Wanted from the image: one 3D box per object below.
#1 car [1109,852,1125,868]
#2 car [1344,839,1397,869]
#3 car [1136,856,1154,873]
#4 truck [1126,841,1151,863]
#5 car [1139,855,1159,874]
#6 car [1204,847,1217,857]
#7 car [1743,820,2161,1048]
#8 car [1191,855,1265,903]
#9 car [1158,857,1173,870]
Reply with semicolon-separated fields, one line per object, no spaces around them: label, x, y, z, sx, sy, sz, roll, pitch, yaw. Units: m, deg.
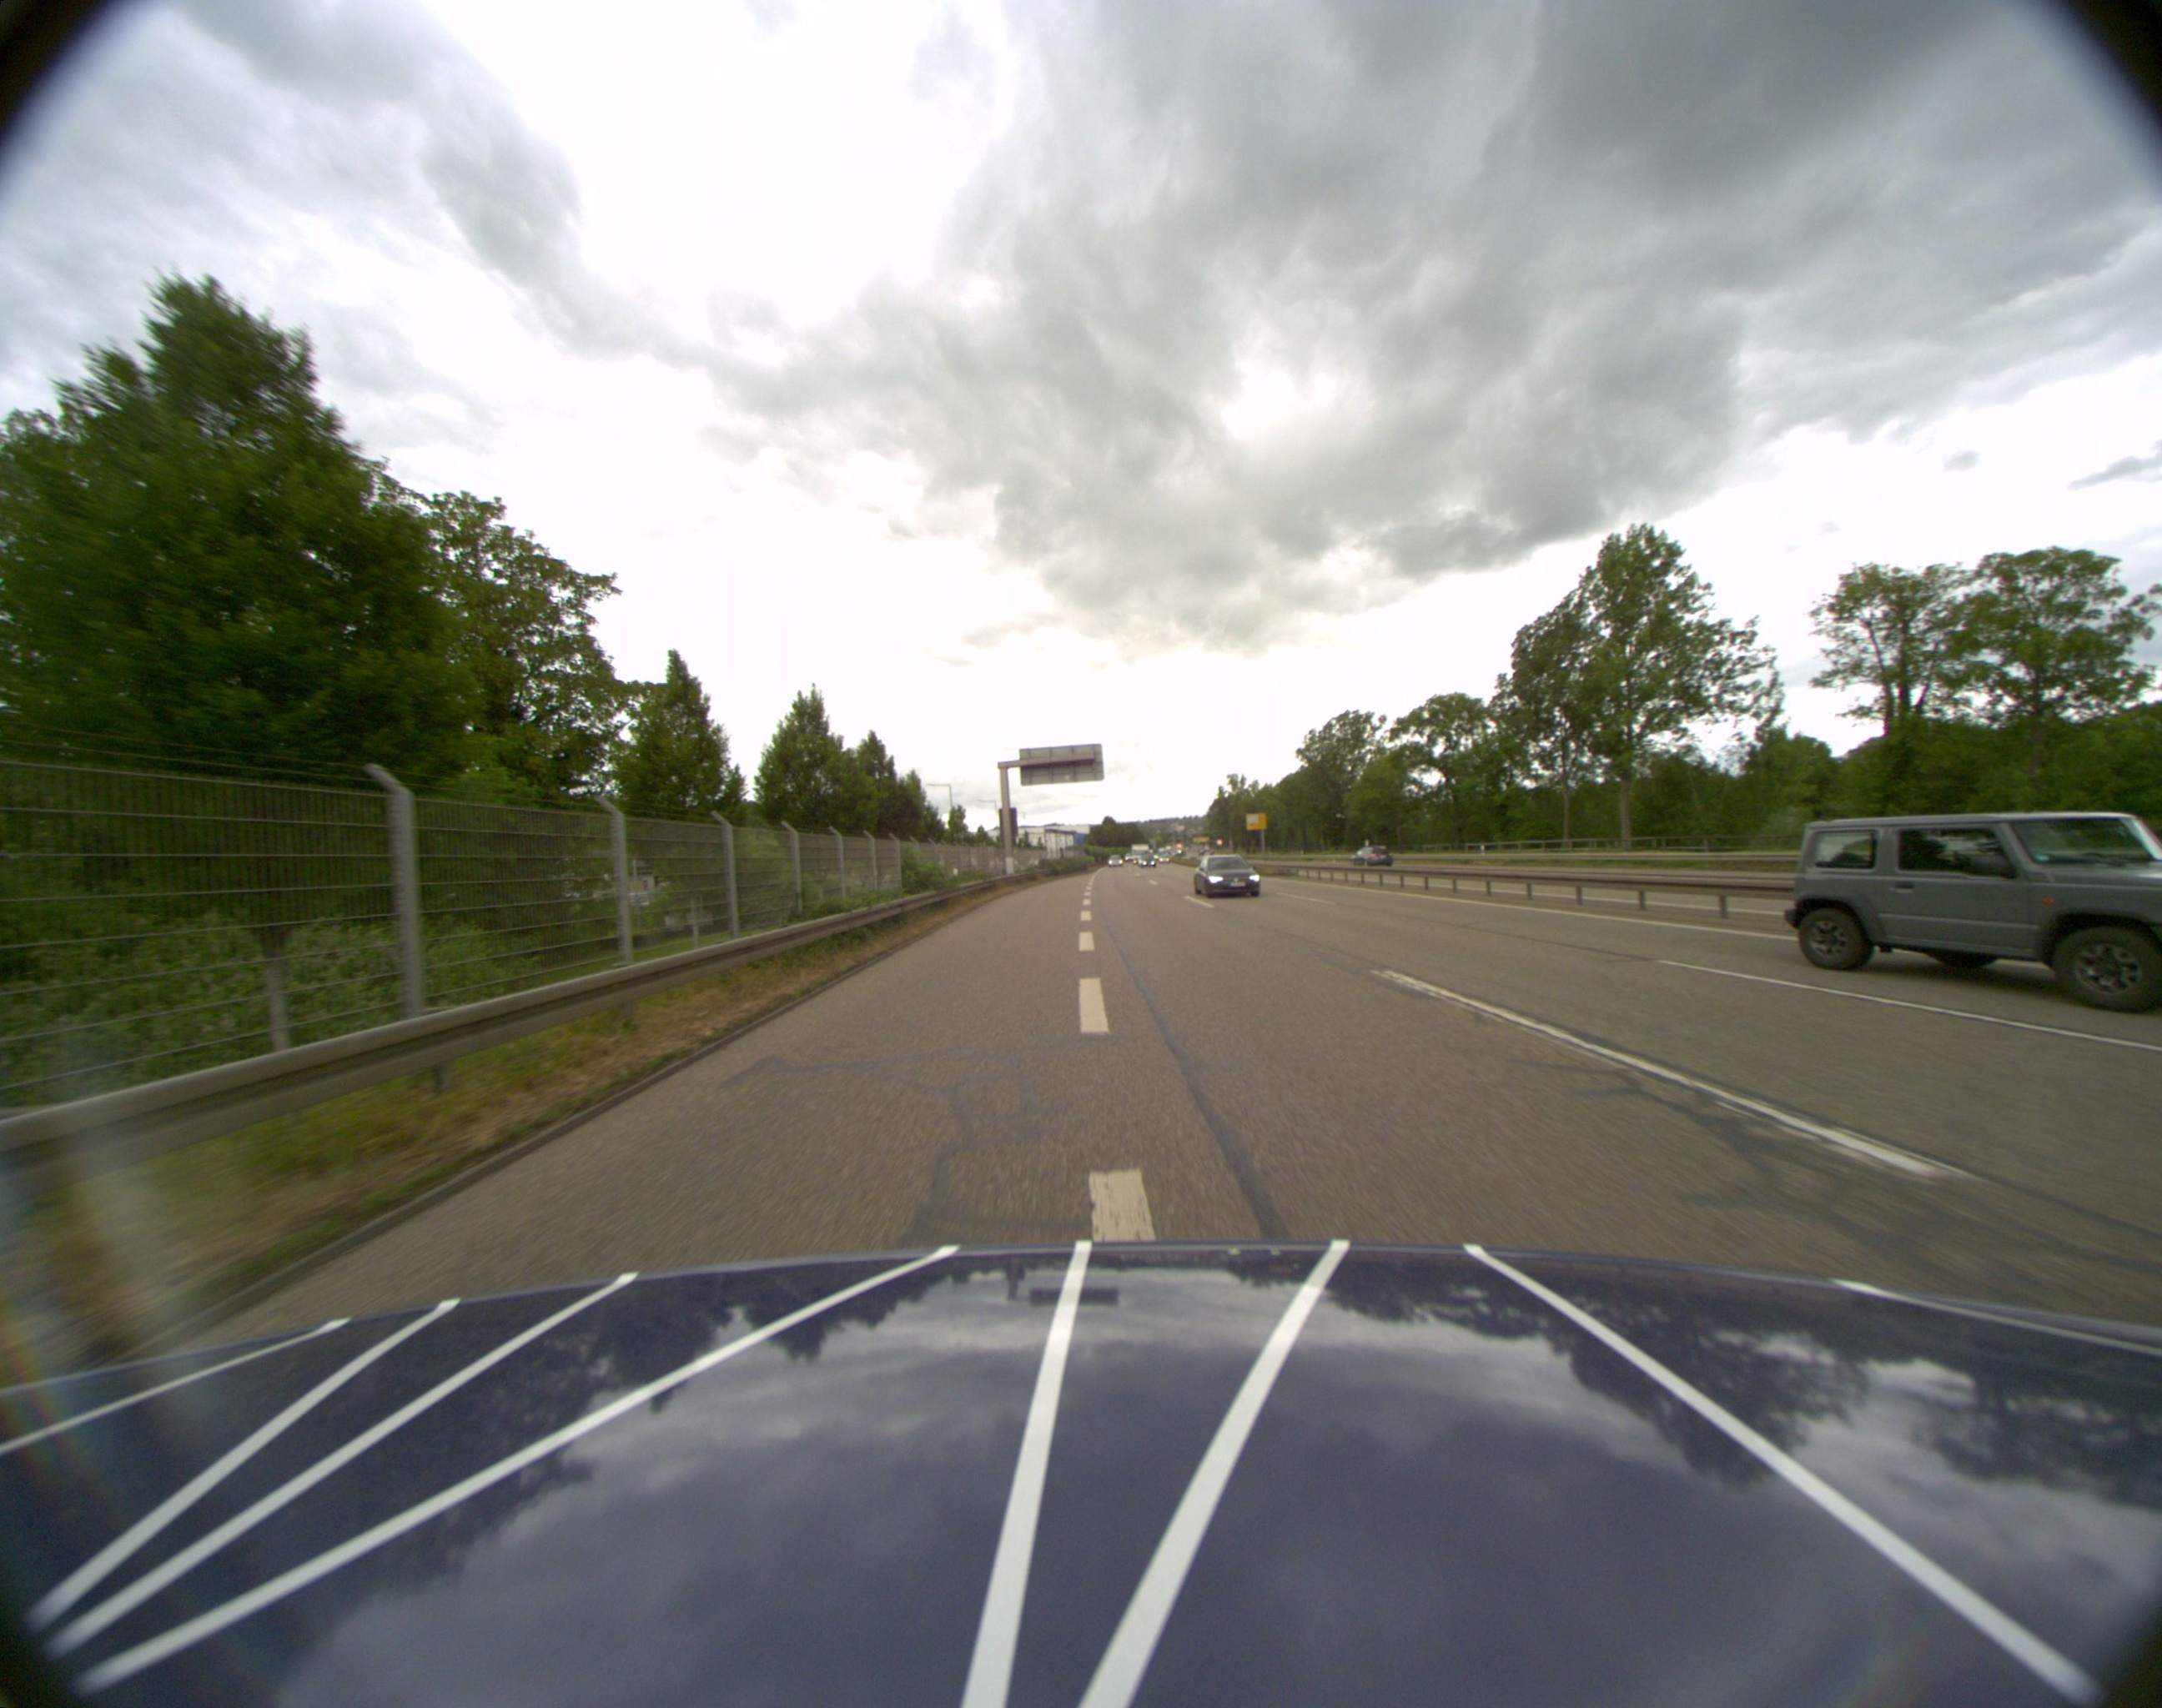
car;4.799;0.825;101.452;1.998;2.002;4.001;-4;0;3
car;21.466;0.038;56.574;1.998;2.002;5.222;-4;0;1
car;8.158;1.265;97.589;1.998;2.002;4.001;-4;0;3
truck;9.072;-0.359;120.069;3.040;3.141;7.565;-2;1;-1
car;7.756;1.185;87.071;1.998;2.002;4.001;-4;0;3
car;26.354;-0.427;154.985;1.998;2.002;4.000;-2;0;1
car;9.002;0.576;7.360;1.685;1.726;3.998;-2;0;0
car;5.115;0.826;26.951;1.940;1.492;4.304;-2;0;3
car;13.934;1.530;125.559;1.998;2.002;4.001;-4;0;3
